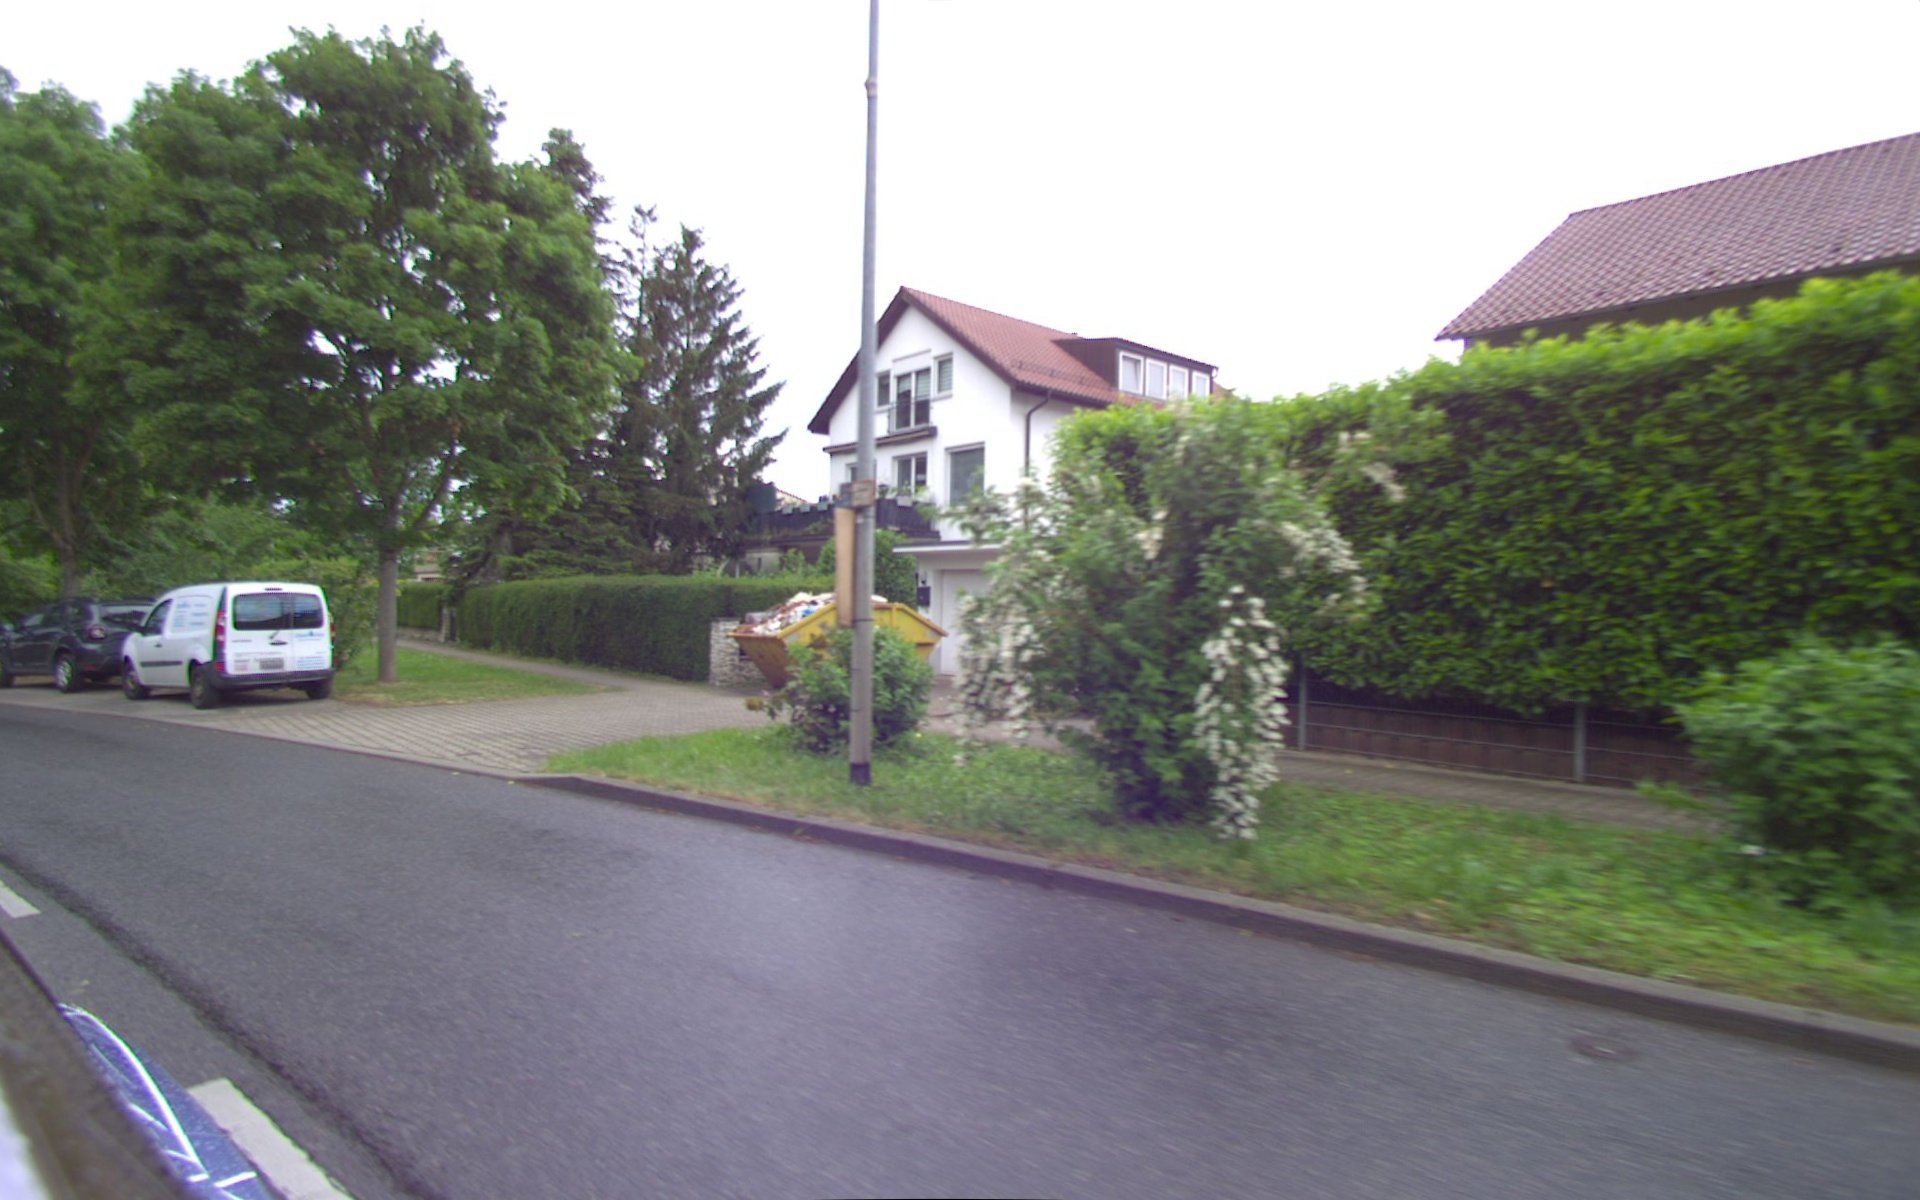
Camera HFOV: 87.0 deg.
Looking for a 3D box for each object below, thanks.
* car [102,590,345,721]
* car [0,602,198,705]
[{"bbox_3d":[-11.702,0.776,15.995,4.362,1.809,1.783,-1,0,35],"label":"car"},{"bbox_3d":[-16.238,0.886,18.593,4.569,1.653,1.740,0,1,27],"label":"car"}]
